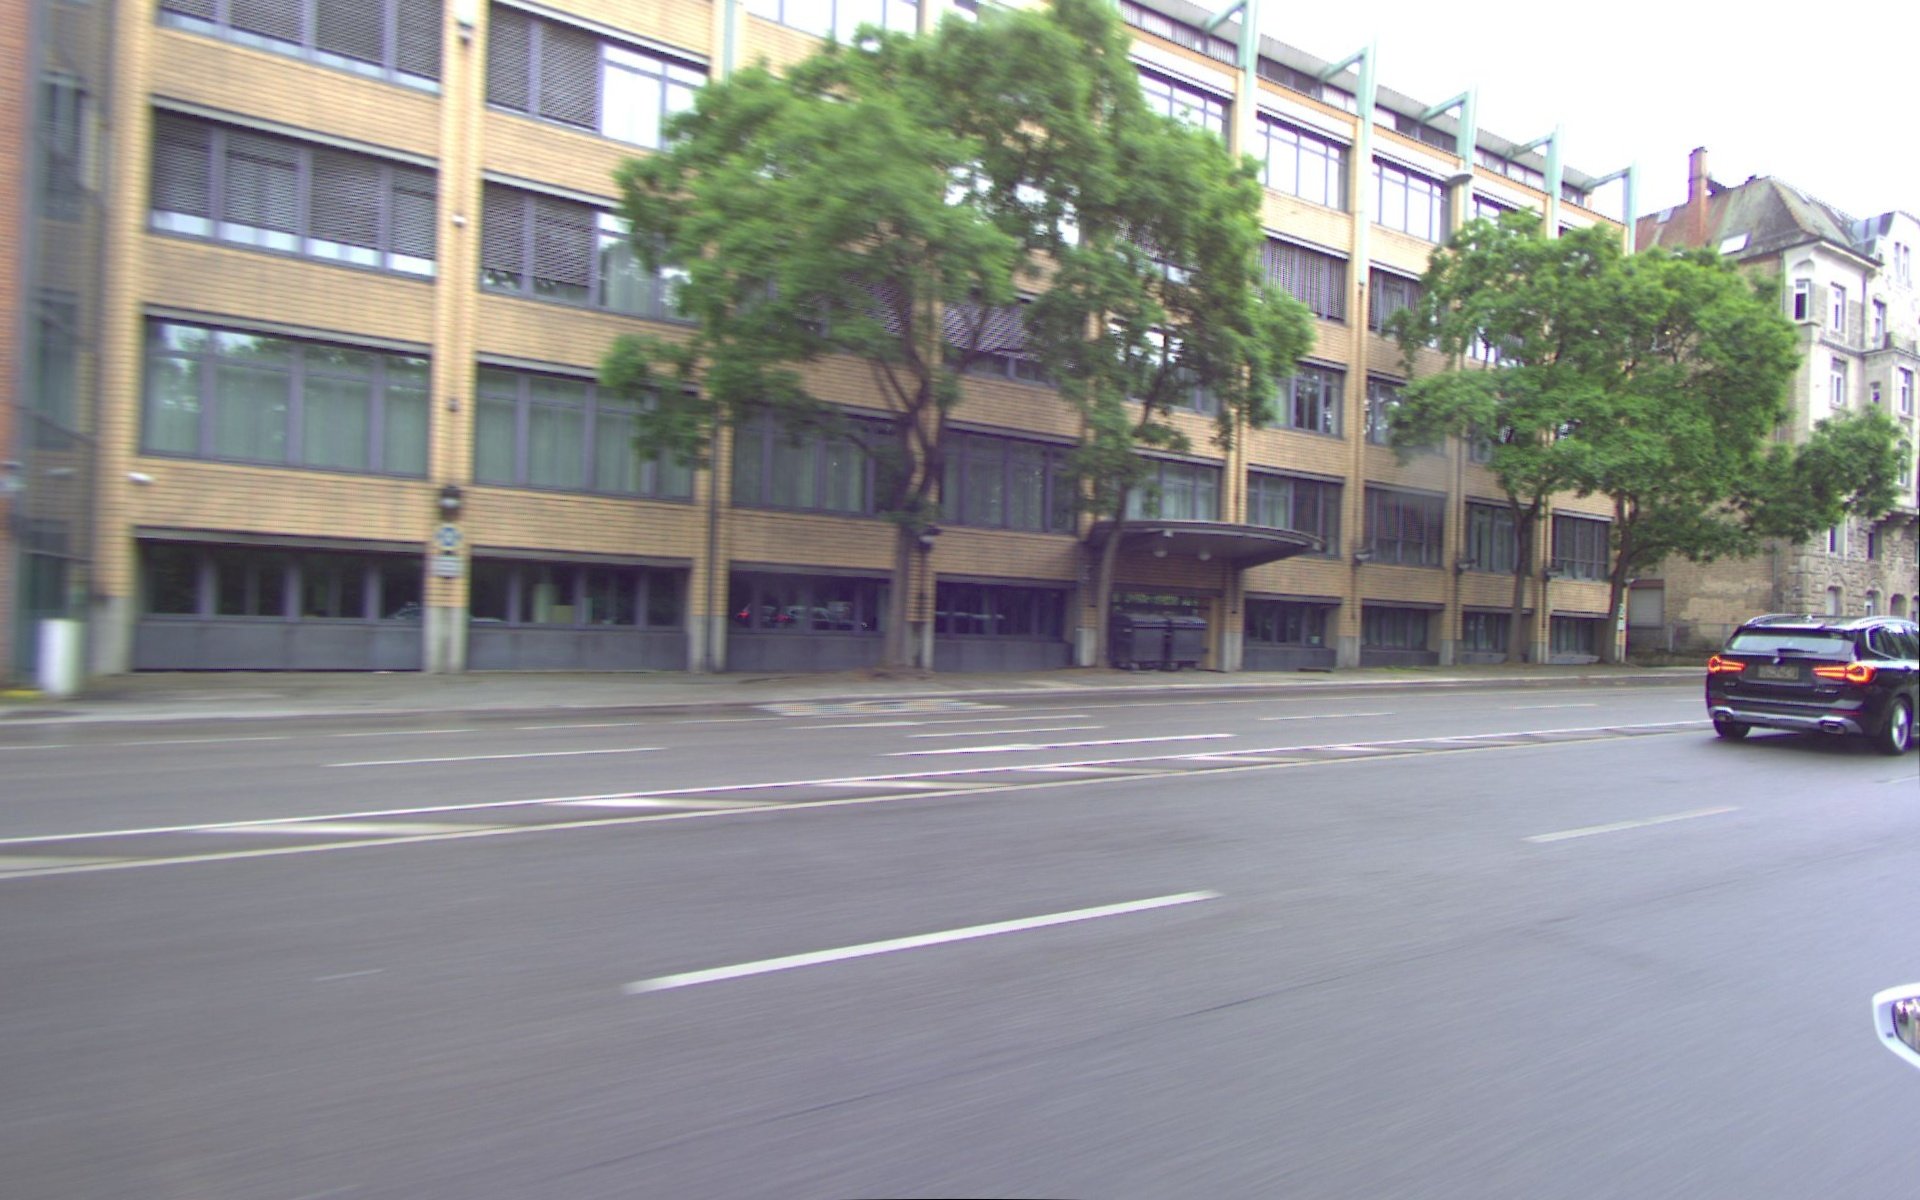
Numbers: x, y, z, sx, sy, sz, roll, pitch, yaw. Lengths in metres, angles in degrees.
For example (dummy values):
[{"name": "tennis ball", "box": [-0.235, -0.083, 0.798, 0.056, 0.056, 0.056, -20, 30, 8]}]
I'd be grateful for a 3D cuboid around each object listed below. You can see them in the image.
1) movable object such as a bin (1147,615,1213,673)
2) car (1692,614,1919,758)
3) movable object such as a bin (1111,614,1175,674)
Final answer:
[{"name": "movable object such as a bin", "box": [5.833, 1.153, 26.643, 1.358, 1.455, 1.061, 1, 1, -34]}, {"name": "car", "box": [11.786, 1.053, 13.327, 4.361, 1.607, 1.749, 2, 0, -30]}, {"name": "movable object such as a bin", "box": [4.722, 1.114, 25.893, 1.301, 1.455, 0.967, 1, 1, -34]}]
